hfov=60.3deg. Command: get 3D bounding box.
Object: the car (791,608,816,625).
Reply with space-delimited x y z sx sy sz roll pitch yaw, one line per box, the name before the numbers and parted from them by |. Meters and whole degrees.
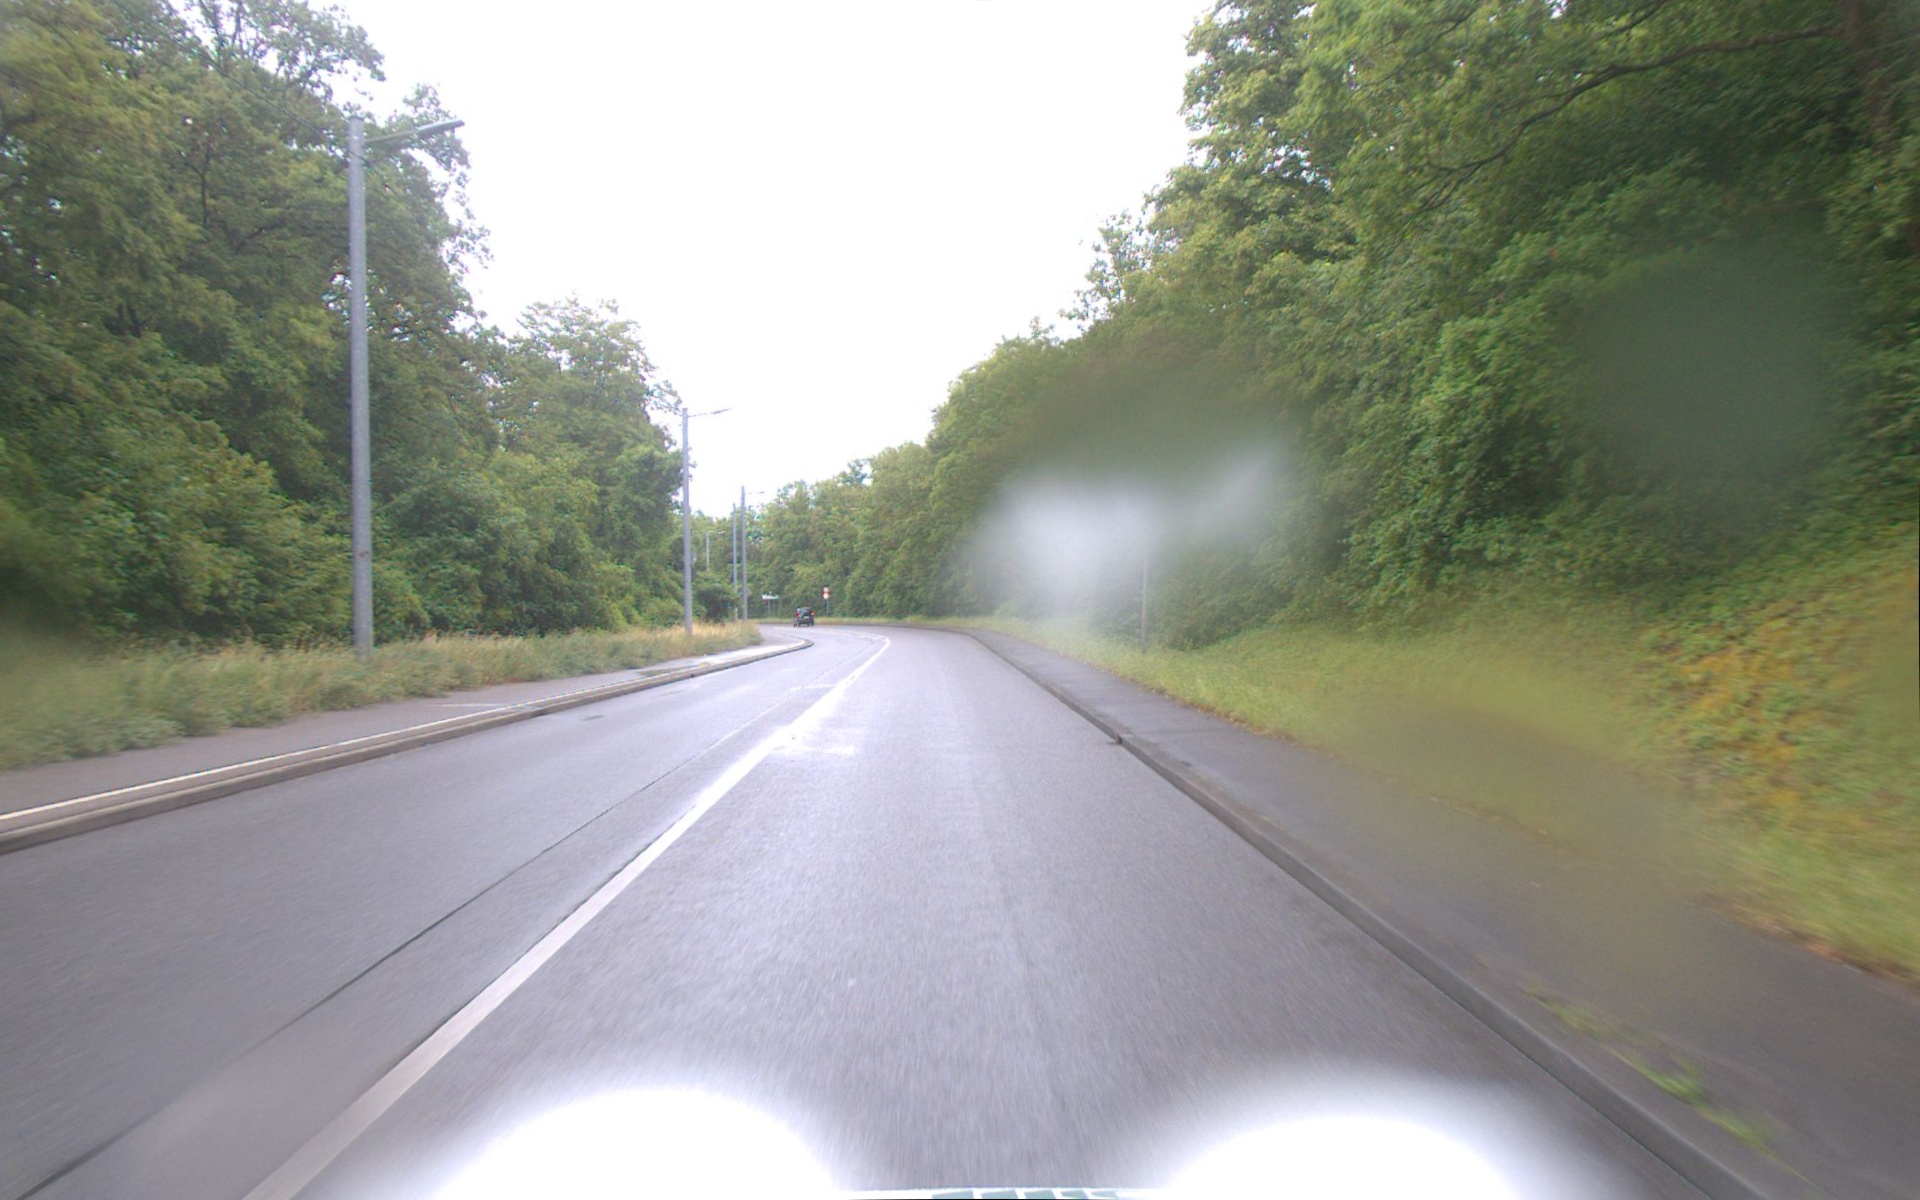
car | -15.864 1.690 167.552 1.836 1.624 3.984 3 -1 -15
